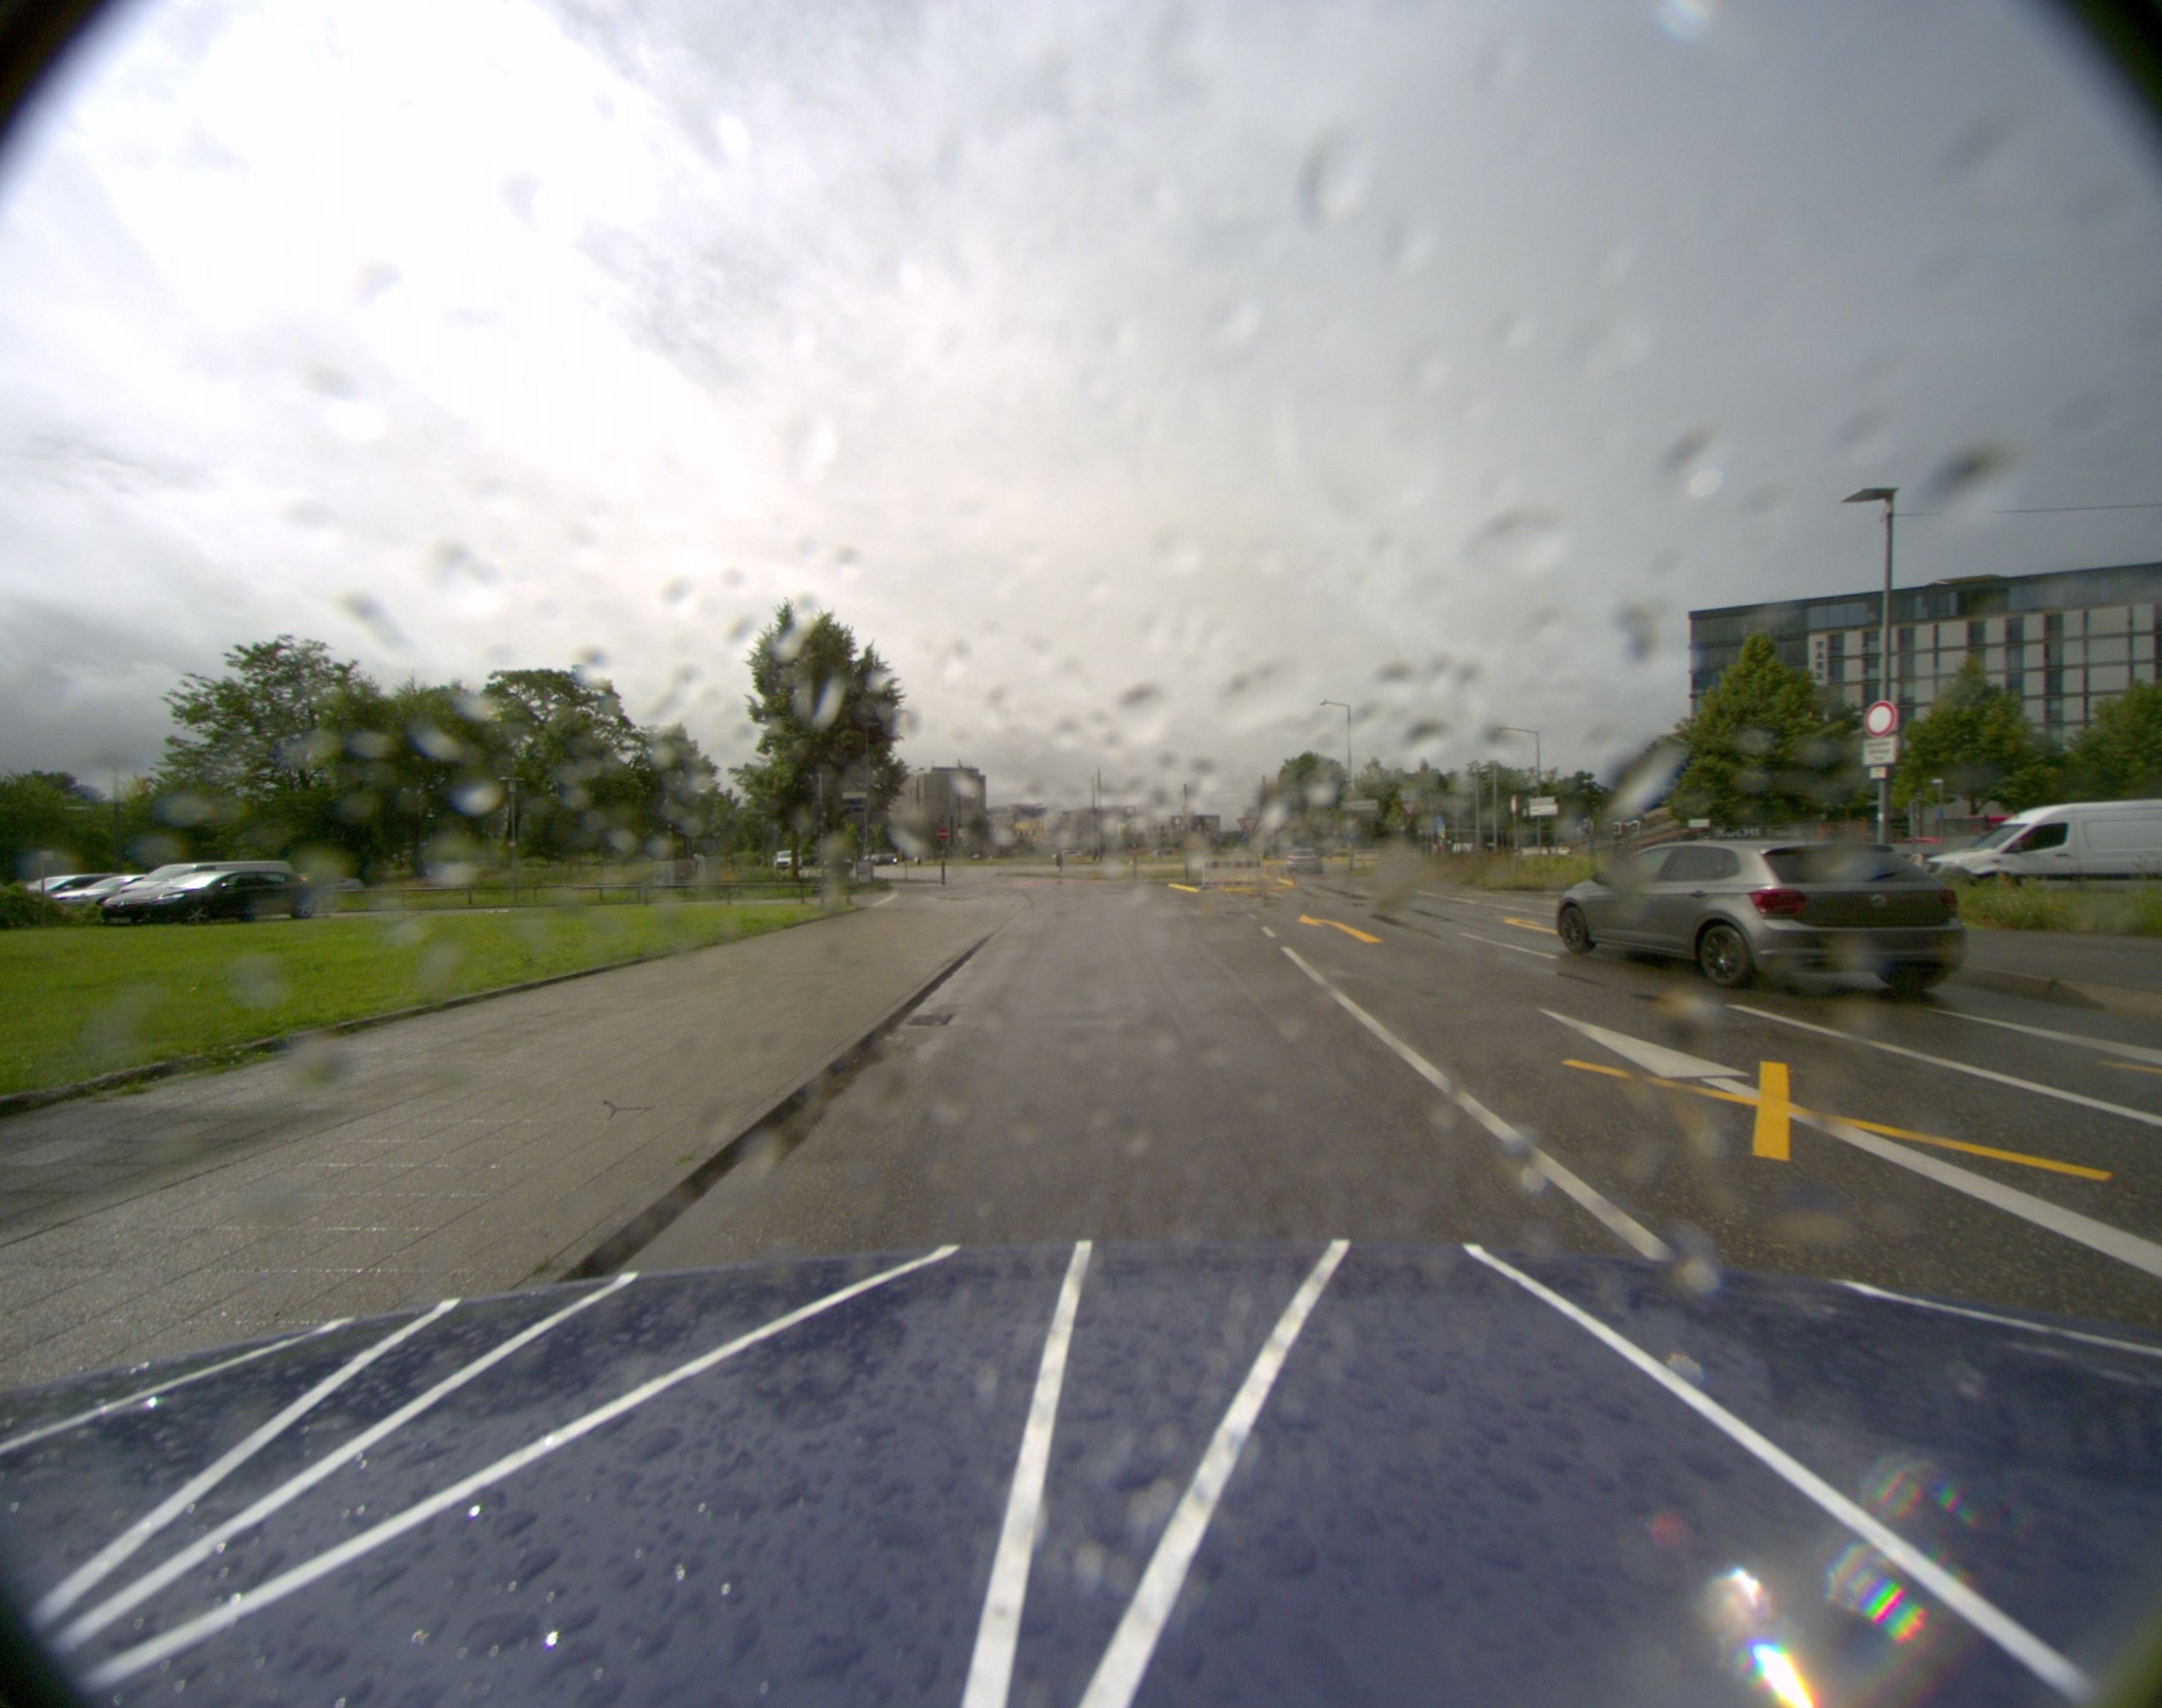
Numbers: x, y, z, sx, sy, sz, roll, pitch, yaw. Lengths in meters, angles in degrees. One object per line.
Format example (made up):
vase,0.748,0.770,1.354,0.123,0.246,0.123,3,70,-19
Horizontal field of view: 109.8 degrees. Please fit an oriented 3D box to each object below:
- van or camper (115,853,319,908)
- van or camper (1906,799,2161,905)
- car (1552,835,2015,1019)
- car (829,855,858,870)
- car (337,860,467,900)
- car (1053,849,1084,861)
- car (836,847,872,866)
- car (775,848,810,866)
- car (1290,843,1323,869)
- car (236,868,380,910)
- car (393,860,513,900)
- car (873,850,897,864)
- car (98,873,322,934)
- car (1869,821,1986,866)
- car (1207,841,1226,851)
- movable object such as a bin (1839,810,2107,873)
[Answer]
van or camper,-36.025,1.021,32.020,1.998,2.092,5.679,-2,0,1
van or camper,27.315,-0.067,20.148,6.963,2.632,2.516,-1,1,32
car,6.957,0.600,8.169,1.683,1.499,3.794,-1,0,5
car,-25.698,0.896,82.232,1.769,1.587,3.999,-2,1,1
car,-28.833,1.069,32.453,1.934,1.539,3.999,-1,0,0
car,-1.747,0.131,109.073,4.122,1.521,1.666,-2,0,-22
car,-21.159,0.192,70.886,1.667,1.678,4.207,-2,0,6
car,-29.266,0.302,77.249,1.891,1.703,4.229,0,0,1
car,13.494,0.097,45.364,1.740,1.406,4.184,-1,1,18
car,-32.204,1.415,31.862,1.934,1.539,3.999,-1,0,0
car,-26.617,1.063,32.383,1.934,1.539,3.771,-1,0,0
car,-24.458,0.329,94.935,1.867,1.739,4.000,-1,0,0
car,-22.493,1.217,19.882,1.391,1.318,3.875,-1,0,0
car,40.214,-0.499,36.240,1.996,2.002,4.005,-1,1,18
car,22.792,-1.324,127.880,1.664,1.521,3.487,-1,0,40
movable object such as a bin,36.079,-0.447,31.160,6.596,2.373,2.681,-1,1,31
